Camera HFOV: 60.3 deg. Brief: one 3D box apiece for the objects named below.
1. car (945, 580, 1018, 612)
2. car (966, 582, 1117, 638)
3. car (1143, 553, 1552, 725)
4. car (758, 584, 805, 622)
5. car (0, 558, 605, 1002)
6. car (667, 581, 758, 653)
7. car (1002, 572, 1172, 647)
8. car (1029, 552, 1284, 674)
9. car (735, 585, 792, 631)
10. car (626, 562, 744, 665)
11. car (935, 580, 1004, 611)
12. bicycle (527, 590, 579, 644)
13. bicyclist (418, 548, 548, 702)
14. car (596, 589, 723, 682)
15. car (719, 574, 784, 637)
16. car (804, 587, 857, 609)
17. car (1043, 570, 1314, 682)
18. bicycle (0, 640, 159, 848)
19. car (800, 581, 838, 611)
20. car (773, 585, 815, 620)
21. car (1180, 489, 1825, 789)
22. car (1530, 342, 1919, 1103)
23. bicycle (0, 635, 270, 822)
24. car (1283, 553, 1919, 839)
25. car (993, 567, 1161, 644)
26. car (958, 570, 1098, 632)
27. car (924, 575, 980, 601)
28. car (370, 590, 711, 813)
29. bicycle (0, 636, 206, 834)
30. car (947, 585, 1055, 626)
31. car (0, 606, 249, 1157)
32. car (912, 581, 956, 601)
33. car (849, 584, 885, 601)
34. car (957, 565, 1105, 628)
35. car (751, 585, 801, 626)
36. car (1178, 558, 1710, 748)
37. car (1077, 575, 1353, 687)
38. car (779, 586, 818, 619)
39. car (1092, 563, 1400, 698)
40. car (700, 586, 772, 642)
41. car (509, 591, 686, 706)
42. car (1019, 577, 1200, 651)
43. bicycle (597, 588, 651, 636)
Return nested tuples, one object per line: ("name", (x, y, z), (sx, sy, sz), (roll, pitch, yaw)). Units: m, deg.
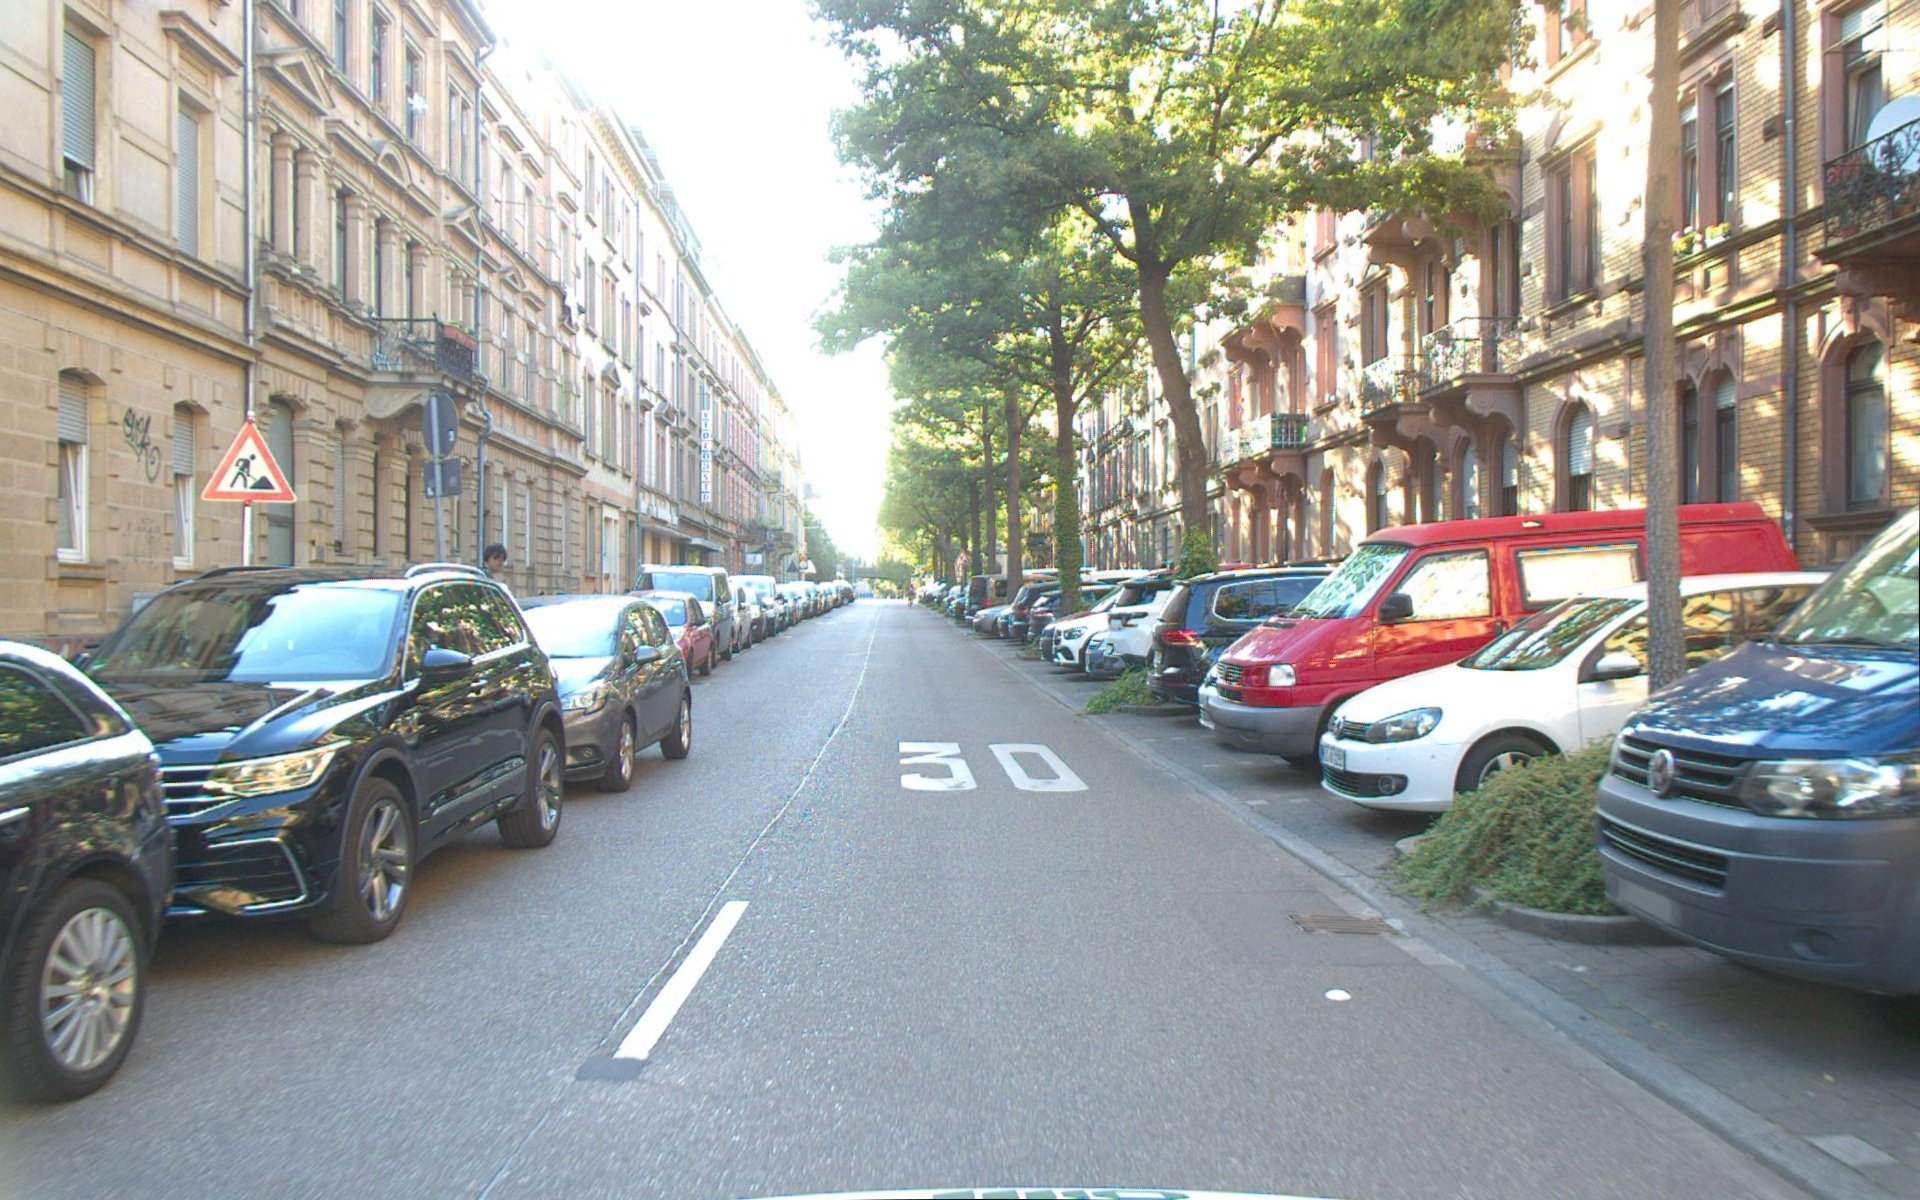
("car", (1.191, -0.251, 92.814), (3.781, 1.601, 1.713), (-3, 1, -11))
("car", (2.353, 0.272, 48.573), (4.141, 1.428, 1.832), (-3, 1, -8))
("car", (4.222, 0.417, 18.518), (4.100, 1.656, 1.837), (-2, 0, 0))
("car", (-7.309, 0.103, 68.028), (1.724, 1.498, 4.056), (-1, 1, -4))
("car", (-3.244, 0.656, 8.432), (1.722, 1.628, 4.551), (-1, 0, 2))
("car", (-6.020, 0.375, 40.655), (1.718, 1.636, 4.382), (1, 0, -2))
("car", (3.085, 0.236, 40.735), (3.931, 1.635, 1.733), (-2, 0, -3))
("car", (3.595, 0.201, 30.737), (4.358, 1.957, 1.848), (-3, 2, -5))
("car", (-6.753, 0.246, 57.078), (1.724, 1.498, 4.056), (-1, 1, -4))
("car", (-5.706, 0.247, 34.868), (1.795, 1.977, 5.257), (1, 0, -3))
("car", (0.526, -0.274, 97.429), (3.781, 1.601, 1.713), (-3, 1, -11))
("bicycle", (-9.977, 0.397, 40.654), (0.726, 1.277, 2.825), (0, 1, -3))
("bicyclist", (-5.897, 0.283, 20.473), (1.198, 1.821, 0.983), (-2, 1, -44))
("car", (-5.214, 0.577, 29.094), (1.560, 1.501, 3.699), (1, 0, -1))
("car", (-6.516, 0.144, 52.033), (1.724, 1.874, 4.526), (-1, 1, -4))
("car", (-9.533, -0.107, 122.066), (1.956, 1.512, 3.993), (-2, -2, 29))
("car", (3.657, 0.404, 28.175), (4.258, 1.583, 1.849), (-3, 2, -4))
("bicycle", (-5.587, 0.804, 9.380), (1.844, 1.148, 0.524), (1, -1, -26))
("car", (-7.787, -0.206, 91.557), (1.954, 1.512, 3.997), (-1, -1, -3))
("car", (-7.440, 0.076, 74.279), (1.724, 1.498, 4.056), (-1, 1, -4))
("car", (4.288, 0.275, 13.488), (4.585, 2.069, 1.876), (-2, 0, -6))
("car", (4.890, 0.349, 6.057), (4.922, 2.253, 1.991), (0, 0, -4))
("bicycle", (-5.512, 0.816, 10.709), (1.830, 1.148, 0.528), (1, -1, -3))
("car", (4.311, 0.547, 10.734), (3.973, 1.536, 1.878), (-2, 0, -3))
("car", (3.045, 0.126, 43.523), (4.138, 1.807, 1.834), (-3, 1, -4))
("car", (2.218, 0.016, 54.208), (4.163, 1.826, 1.823), (-3, 1, -23))
("car", (-0.548, -0.850, 115.130), (3.774, 1.601, 1.717), (-3, 1, -4))
("car", (-3.272, 0.705, 13.734), (1.722, 1.527, 4.060), (-1, 0, 1))
("bicycle", (-5.579, 0.798, 9.990), (1.844, 1.148, 0.524), (1, -1, -26))
("car", (1.484, 0.198, 60.773), (3.776, 1.316, 1.716), (-3, 1, -6))
("car", (-3.503, 0.781, 3.615), (1.722, 1.477, 4.552), (-1, 0, 3))
("car", (-2.312, -0.781, 145.374), (3.774, 1.601, 1.717), (-3, 1, -4))
("car", (-10.689, -0.904, 190.876), (3.902, 1.891, 1.752), (1, 0, 5))
("car", (2.457, -0.125, 57.959), (4.956, 1.959, 1.834), (-2, 1, -3))
("car", (-6.998, 0.186, 63.172), (1.724, 1.498, 4.056), (-1, 1, -4))
("car", (4.562, 0.486, 16.079), (4.580, 1.540, 1.878), (-2, 0, -1))
("car", (3.917, 0.463, 25.814), (3.931, 1.459, 1.793), (-3, 0, -3))
("car", (-7.686, 0.106, 79.036), (1.724, 1.498, 4.056), (-1, 1, -4))
("car", (3.967, 0.410, 23.362), (3.932, 1.656, 1.803), (-2, 0, -4))
("car", (-6.343, 0.373, 47.202), (1.724, 1.493, 3.997), (1, 0, -4))
("car", (-5.287, 0.652, 24.611), (1.722, 1.527, 4.059), (-1, 0, 0))
("car", (3.426, 0.313, 38.305), (3.931, 1.493, 1.733), (-2, 0, -3))
("bicycle", (-10.067, 0.334, 49.678), (1.021, 1.341, 3.998), (0, 1, -3))
